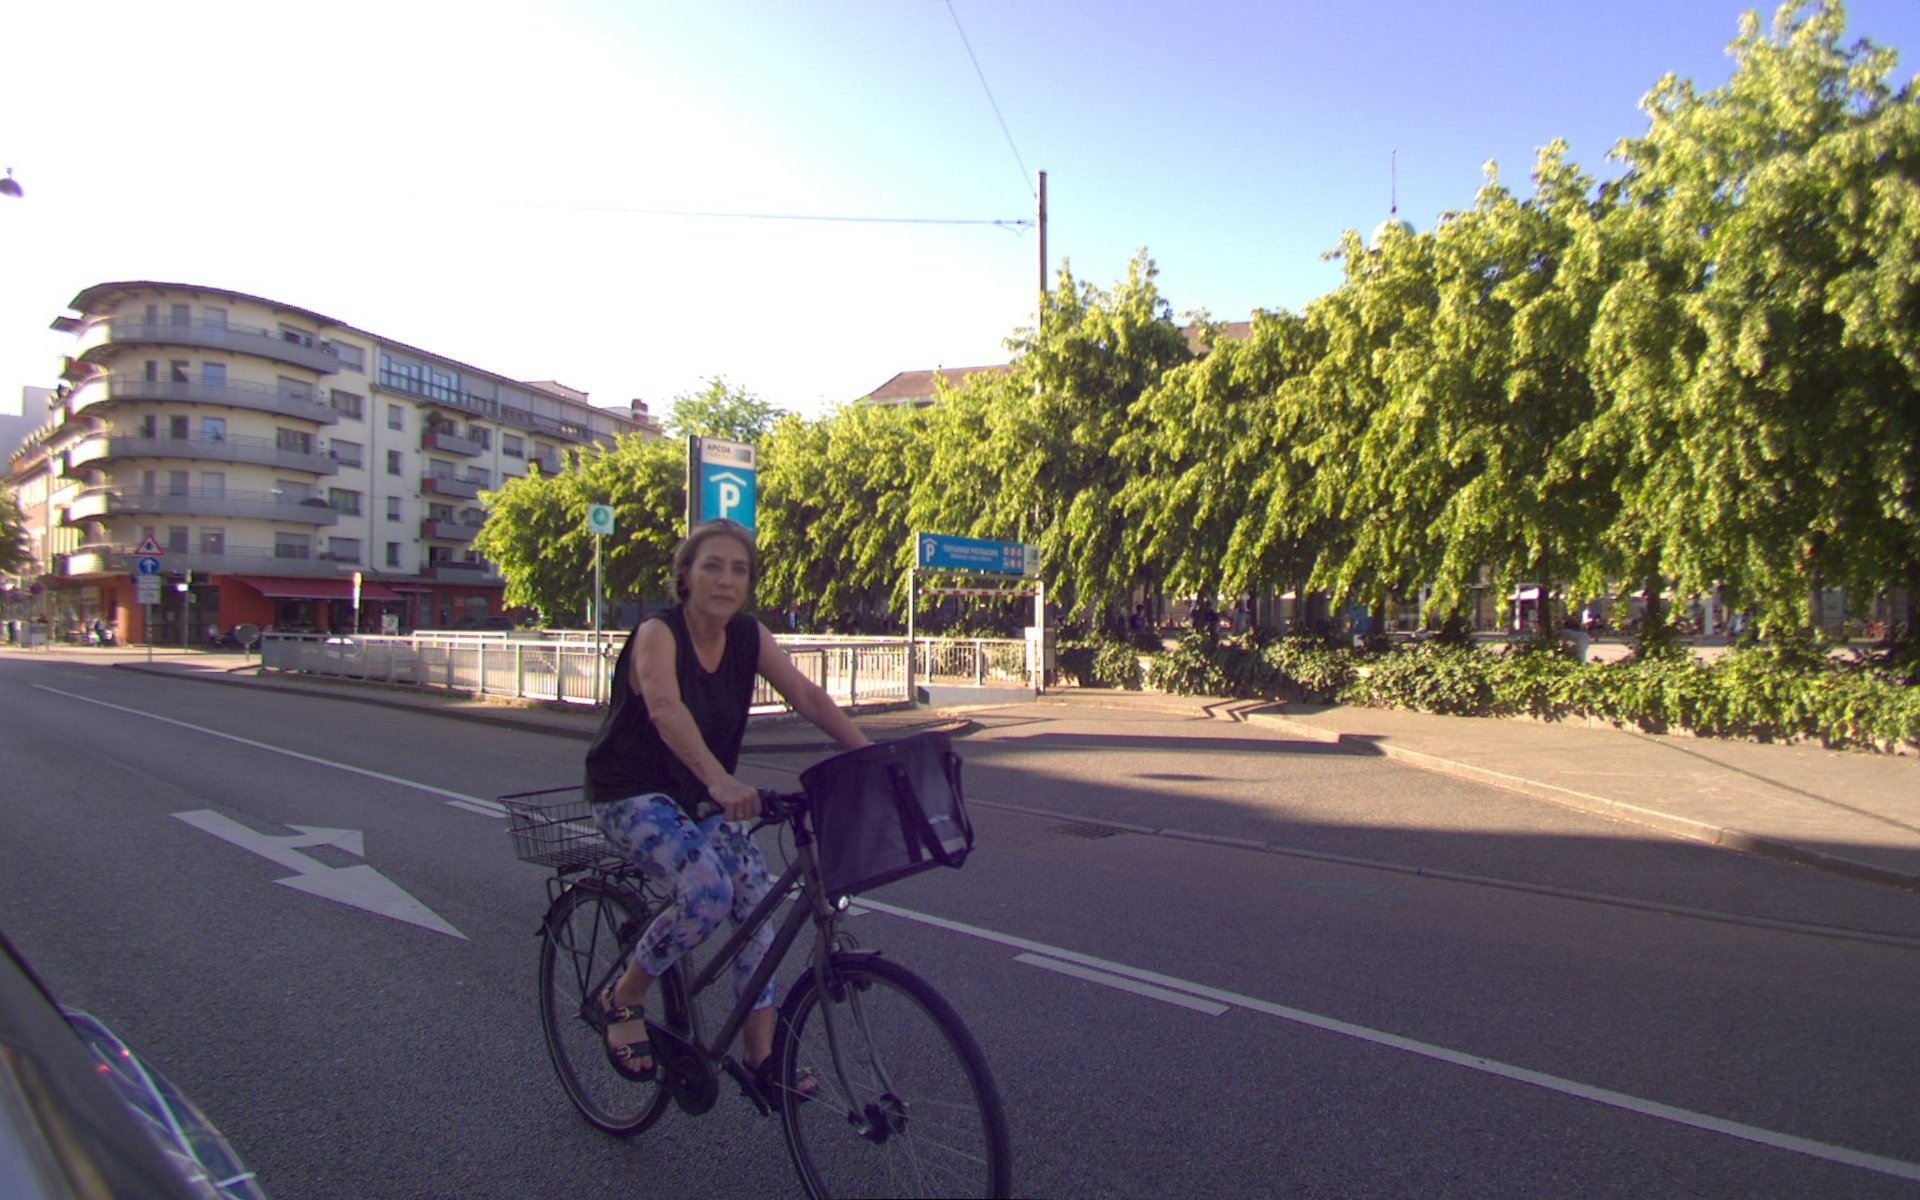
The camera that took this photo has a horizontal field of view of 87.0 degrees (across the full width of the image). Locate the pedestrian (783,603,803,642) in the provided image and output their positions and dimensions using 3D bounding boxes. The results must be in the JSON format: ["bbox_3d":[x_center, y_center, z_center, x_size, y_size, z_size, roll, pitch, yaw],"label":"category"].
[{"bbox_3d":[-8.207,1.101,49.768,0.681,1.857,0.741,-1,0,27],"label":"pedestrian"}]

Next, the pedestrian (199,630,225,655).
[{"bbox_3d":[-37.644,2.138,50.952,0.882,1.207,0.772,-1,0,30],"label":"pedestrian"}]

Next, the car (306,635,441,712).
[{"bbox_3d":[-14.927,1.793,25.664,4.248,1.542,1.654,3,1,41],"label":"car"}]

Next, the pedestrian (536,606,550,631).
[{"bbox_3d":[-31.386,1.400,76.128,0.684,1.857,0.737,-1,0,41],"label":"pedestrian"}]

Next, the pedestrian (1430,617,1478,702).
[{"bbox_3d":[8.744,1.028,17.907,0.621,1.447,0.645,-1,0,39],"label":"pedestrian"}]

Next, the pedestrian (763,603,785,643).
[{"bbox_3d":[-8.984,1.101,48.890,0.681,1.877,0.741,-1,0,27],"label":"pedestrian"}]

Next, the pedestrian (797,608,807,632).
[{"bbox_3d":[-10.731,1.341,68.663,0.489,1.591,0.491,-1,0,16],"label":"pedestrian"}]

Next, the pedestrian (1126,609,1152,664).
[{"bbox_3d":[4.611,0.932,26.107,0.545,1.385,0.680,-1,0,19],"label":"pedestrian"}]

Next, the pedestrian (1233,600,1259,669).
[{"bbox_3d":[6.704,0.801,23.695,0.522,1.594,0.680,-1,0,19],"label":"pedestrian"}]

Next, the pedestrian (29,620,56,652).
[{"bbox_3d":[-52.102,2.025,57.488,0.962,1.762,1.047,-1,0,41],"label":"pedestrian"}]

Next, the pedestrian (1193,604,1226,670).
[{"bbox_3d":[5.860,0.853,23.746,0.688,1.511,0.680,-1,0,19],"label":"pedestrian"}]

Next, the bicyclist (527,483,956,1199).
[{"bbox_3d":[-0.571,0.518,2.544,0.958,1.495,0.599,-1,0,42],"label":"bicyclist"}]

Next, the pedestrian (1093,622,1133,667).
[{"bbox_3d":[3.805,1.096,25.213,0.682,1.079,0.686,-1,0,-29],"label":"pedestrian"}]

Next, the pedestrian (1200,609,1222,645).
[{"bbox_3d":[10.989,1.182,44.289,0.673,1.536,0.694,-1,0,-42],"label":"pedestrian"}]

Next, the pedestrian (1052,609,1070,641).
[{"bbox_3d":[4.467,1.107,44.826,0.684,1.385,0.684,-1,0,1],"label":"pedestrian"}]

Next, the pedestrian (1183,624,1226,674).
[{"bbox_3d":[5.414,1.075,22.453,0.682,1.079,0.686,-1,0,-13],"label":"pedestrian"}]

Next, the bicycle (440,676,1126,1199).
[{"bbox_3d":[-0.599,0.872,2.566,2.000,1.232,0.621,-1,0,43],"label":"bicycle"}]

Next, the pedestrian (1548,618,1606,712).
[{"bbox_3d":[9.800,1.015,16.098,0.611,1.447,0.588,-1,0,14],"label":"pedestrian"}]

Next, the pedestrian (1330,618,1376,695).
[{"bbox_3d":[7.517,1.063,19.354,0.622,1.409,0.644,-1,0,44],"label":"pedestrian"}]

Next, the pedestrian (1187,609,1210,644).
[{"bbox_3d":[10.565,1.180,44.882,0.673,1.542,0.695,-1,0,-39],"label":"pedestrian"}]

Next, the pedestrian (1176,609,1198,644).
[{"bbox_3d":[10.207,1.192,45.544,0.674,1.535,0.694,-1,0,-44],"label":"pedestrian"}]

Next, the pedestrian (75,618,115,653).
[{"bbox_3d":[-42.787,1.767,50.075,1.266,1.678,1.129,-1,0,27],"label":"pedestrian"}]

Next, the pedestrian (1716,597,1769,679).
[{"bbox_3d":[15.117,0.721,19.569,0.691,1.532,0.677,-1,0,30],"label":"pedestrian"}]

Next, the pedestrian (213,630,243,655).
[{"bbox_3d":[-36.823,2.127,50.907,0.827,1.207,0.931,-1,0,16],"label":"pedestrian"}]

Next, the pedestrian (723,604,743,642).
[{"bbox_3d":[-11.283,1.154,50.340,0.679,1.857,0.743,-1,0,19],"label":"pedestrian"}]

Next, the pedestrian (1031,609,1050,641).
[{"bbox_3d":[3.572,1.119,44.863,0.752,1.385,0.684,-1,0,1],"label":"pedestrian"}]
